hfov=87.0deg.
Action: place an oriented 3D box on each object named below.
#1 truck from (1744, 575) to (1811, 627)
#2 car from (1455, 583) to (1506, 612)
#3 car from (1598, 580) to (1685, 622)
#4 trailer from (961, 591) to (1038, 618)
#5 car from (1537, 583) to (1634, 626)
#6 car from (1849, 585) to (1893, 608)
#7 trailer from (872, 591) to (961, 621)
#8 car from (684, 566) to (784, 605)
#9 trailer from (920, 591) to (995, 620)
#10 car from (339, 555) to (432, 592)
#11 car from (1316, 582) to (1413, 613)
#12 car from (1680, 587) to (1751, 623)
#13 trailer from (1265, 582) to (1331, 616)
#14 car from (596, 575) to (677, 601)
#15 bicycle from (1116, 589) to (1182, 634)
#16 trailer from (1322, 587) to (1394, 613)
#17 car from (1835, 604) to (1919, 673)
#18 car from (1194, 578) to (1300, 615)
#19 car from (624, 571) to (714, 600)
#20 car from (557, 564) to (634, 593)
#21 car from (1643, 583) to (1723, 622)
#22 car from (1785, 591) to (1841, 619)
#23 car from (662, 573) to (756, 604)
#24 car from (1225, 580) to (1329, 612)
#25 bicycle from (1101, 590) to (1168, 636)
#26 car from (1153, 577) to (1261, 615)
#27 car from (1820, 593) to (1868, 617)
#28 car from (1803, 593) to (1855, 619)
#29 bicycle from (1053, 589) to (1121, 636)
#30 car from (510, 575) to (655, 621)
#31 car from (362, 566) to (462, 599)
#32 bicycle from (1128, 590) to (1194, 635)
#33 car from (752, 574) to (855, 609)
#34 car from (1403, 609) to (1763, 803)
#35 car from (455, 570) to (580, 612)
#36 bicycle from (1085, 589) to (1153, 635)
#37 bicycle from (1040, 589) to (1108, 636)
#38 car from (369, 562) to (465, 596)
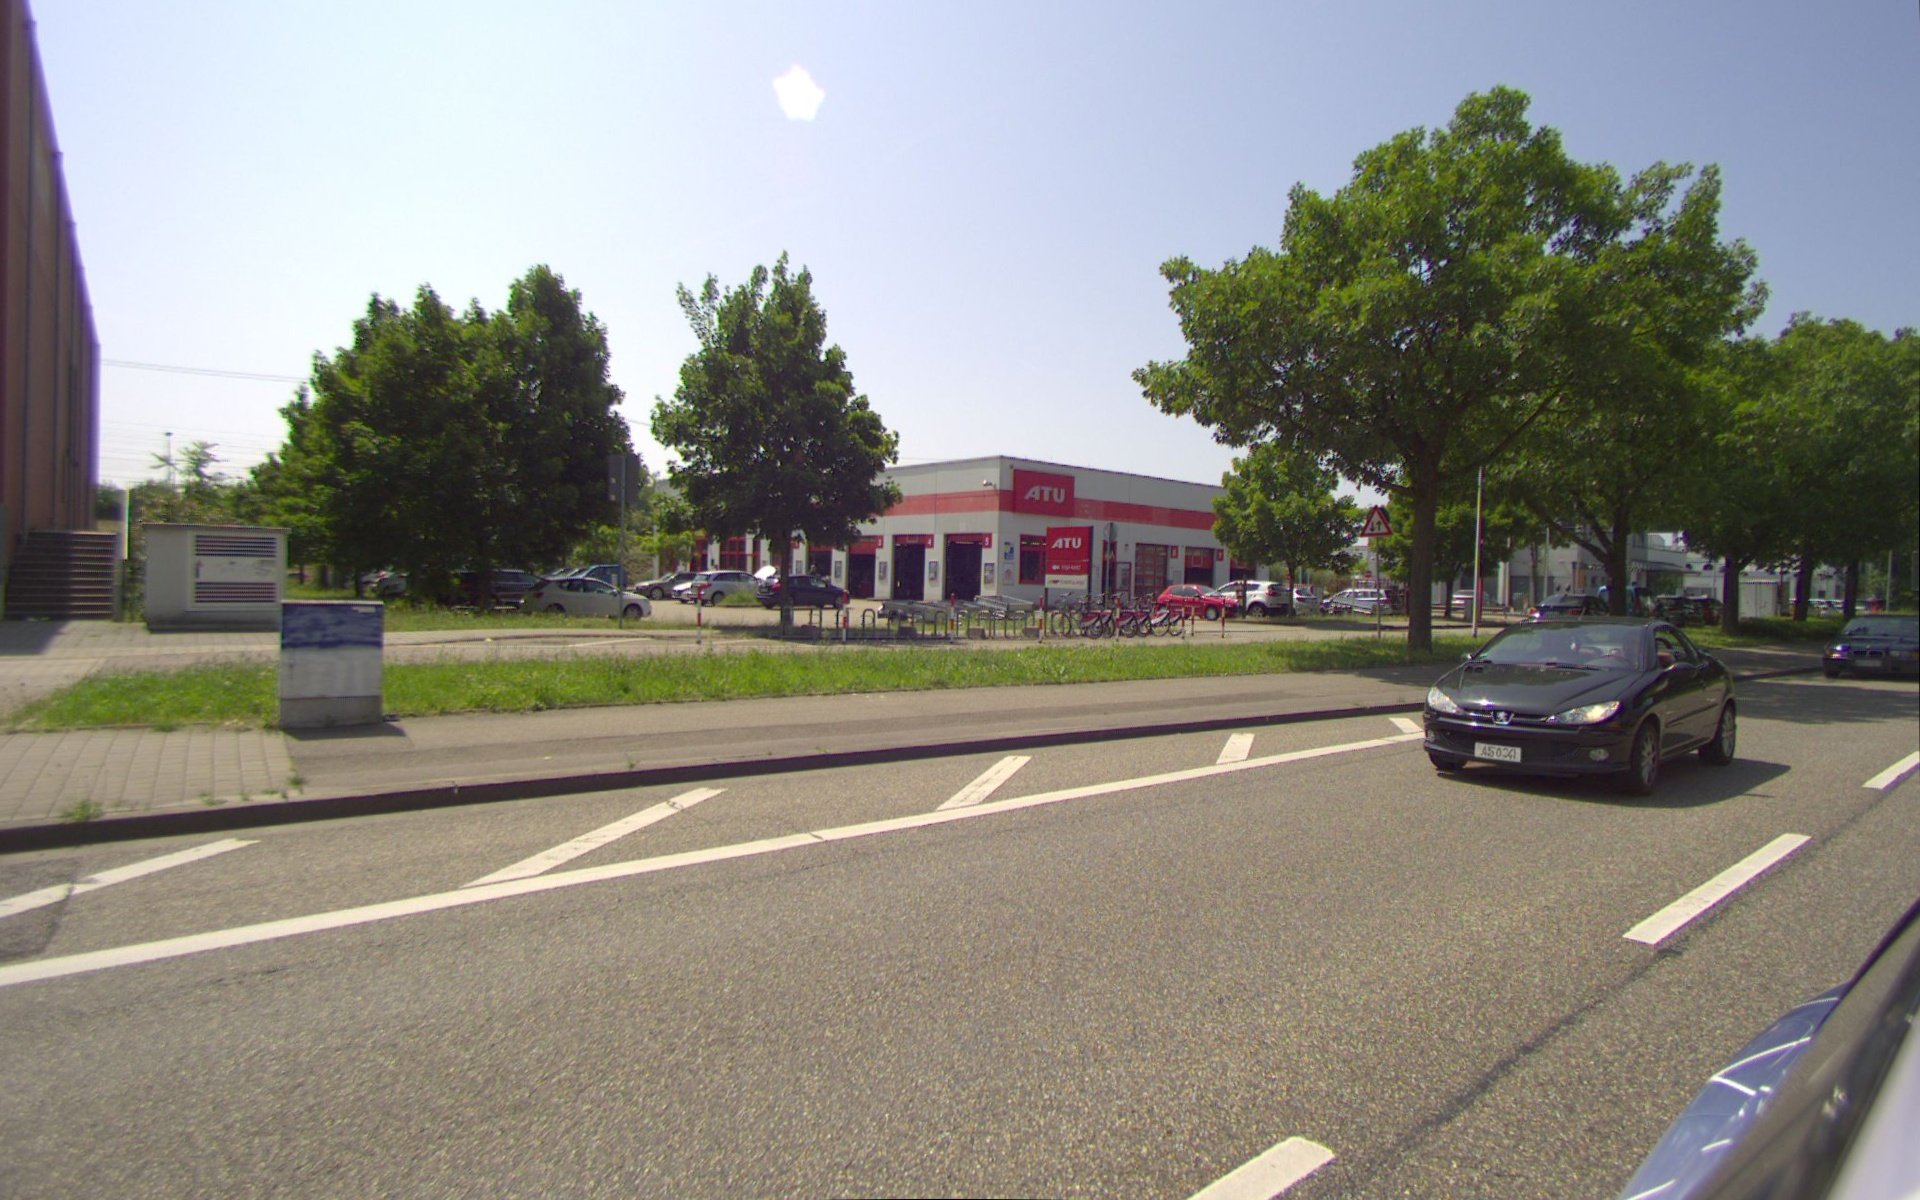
[{"bbox_3d":[43.352,0.052,53.658,3.927,2.599,1.905,1,1,-38],"label":"truck"},{"bbox_3d":[31.716,-0.154,61.623,1.754,1.616,3.938,2,1,43],"label":"car"},{"bbox_3d":[26.259,0.030,38.956,3.928,1.485,1.719,1,1,-40],"label":"car"},{"bbox_3d":[1.215,0.131,31.774,1.368,0.771,2.138,1,1,-38],"label":"trailer"},{"bbox_3d":[21.723,0.158,35.093,3.928,1.388,1.642,1,1,-40],"label":"car"},{"bbox_3d":[63.154,-0.246,70.135,3.928,1.485,1.719,1,1,-40],"label":"car"},{"bbox_3d":[-1.290,0.170,29.445,1.423,0.771,2.468,1,1,-38],"label":"trailer"},{"bbox_3d":[-10.217,-0.642,45.827,4.072,1.683,1.716,0,2,-41],"label":"car"},{"bbox_3d":[-0.098,0.152,30.709,1.244,0.771,2.138,1,1,-38],"label":"trailer"},{"bbox_3d":[-29.261,-1.344,51.585,3.925,1.793,1.712,1,1,-37],"label":"car"},{"bbox_3d":[19.276,-0.122,48.368,1.661,1.317,3.993,1,2,-42],"label":"car"},{"bbox_3d":[34.645,0.241,46.382,3.928,1.532,1.719,1,1,-40],"label":"car"},{"bbox_3d":[16.238,-0.071,48.617,1.391,1.546,2.639,1,1,-42],"label":"trailer"},{"bbox_3d":[-18.324,-0.670,57.365,4.072,1.376,1.647,0,2,-41],"label":"car"},{"bbox_3d":[5.131,0.295,27.593,1.780,1.138,0.506,3,1,44],"label":"bicycle"},{"bbox_3d":[18.186,-0.011,46.253,1.551,1.065,2.639,1,2,-42],"label":"trailer"},{"bbox_3d":[20.571,0.786,22.110,4.072,1.388,1.640,1,-1,-41],"label":"car"},{"bbox_3d":[11.981,-0.165,42.427,1.717,1.419,3.993,1,2,-42],"label":"car"},{"bbox_3d":[-14.796,-0.739,51.518,4.072,1.376,1.647,0,2,-41],"label":"car"},{"bbox_3d":[-21.643,-1.273,60.162,3.930,1.626,1.710,0,1,-41],"label":"car"},{"bbox_3d":[30.244,0.107,42.309,3.928,1.539,1.719,1,1,-40],"label":"car"},{"bbox_3d":[47.896,0.265,56.816,3.928,1.485,1.719,1,1,-40],"label":"car"},{"bbox_3d":[-11.861,-0.543,47.936,3.930,1.389,1.725,0,1,-41],"label":"car"},{"bbox_3d":[13.778,-0.191,44.137,1.717,1.223,3.993,1,2,-42],"label":"car"},{"bbox_3d":[4.643,0.331,27.072,1.780,1.138,0.506,3,1,44],"label":"bicycle"},{"bbox_3d":[9.991,-0.184,41.170,1.717,1.419,3.993,1,2,-42],"label":"car"},{"bbox_3d":[58.206,0.299,66.612,3.928,1.485,1.719,1,1,-40],"label":"car"},{"bbox_3d":[52.693,0.337,61.367,3.928,1.485,1.719,1,1,-40],"label":"car"},{"bbox_3d":[3.303,0.311,26.425,1.780,1.138,0.506,3,1,44],"label":"bicycle"},{"bbox_3d":[-11.778,-0.069,31.690,3.903,1.329,1.652,0,2,-41],"label":"car"},{"bbox_3d":[-26.151,-0.827,48.378,3.930,1.477,1.710,0,1,-41],"label":"car"},{"bbox_3d":[5.543,0.329,28.020,1.780,1.138,0.506,3,1,44],"label":"bicycle"},{"bbox_3d":[-6.691,-0.357,43.451,4.072,1.390,1.716,0,2,-41],"label":"car"},{"bbox_3d":[5.708,0.768,9.082,3.929,1.361,1.641,1,-1,-41],"label":"car"},{"bbox_3d":[-16.314,-0.324,37.412,3.927,1.444,1.711,1,1,-39],"label":"car"},{"bbox_3d":[4.165,0.295,26.653,1.780,1.138,0.506,3,1,44],"label":"bicycle"},{"bbox_3d":[2.897,0.305,25.915,1.780,1.138,0.506,3,1,44],"label":"bicycle"},{"bbox_3d":[-27.050,-1.046,50.434,3.930,1.582,1.710,0,1,-41],"label":"car"}]
